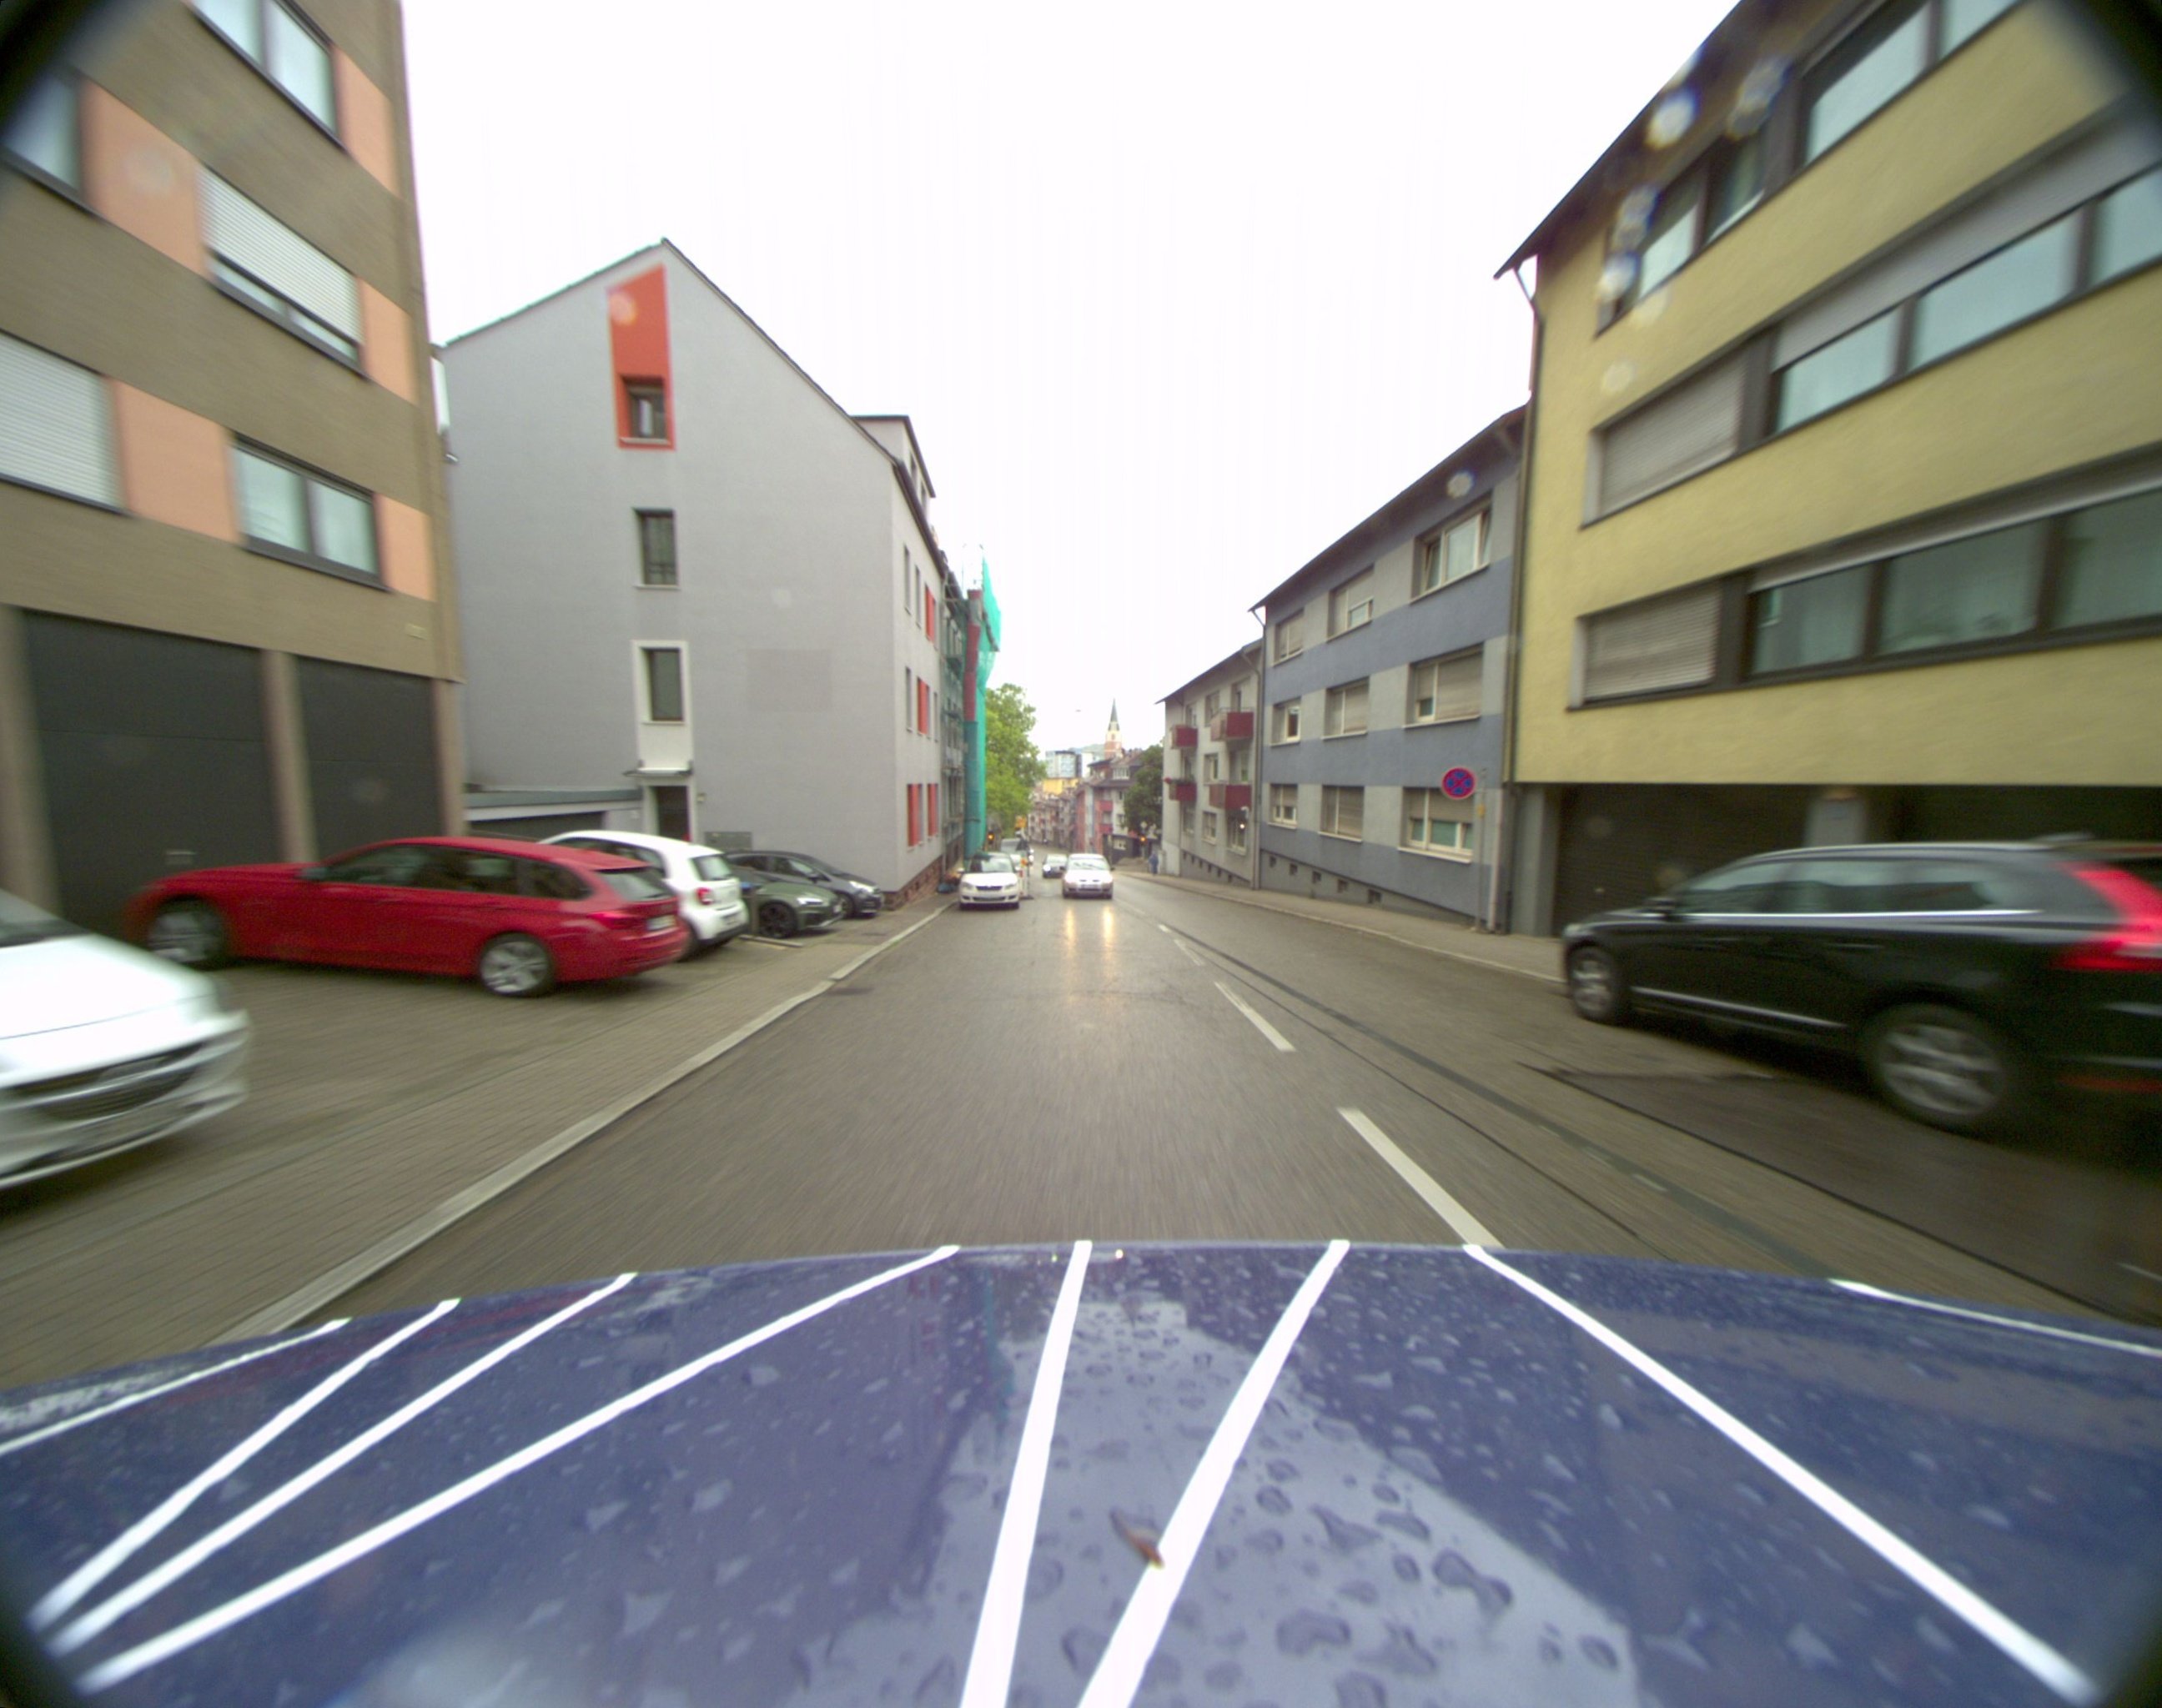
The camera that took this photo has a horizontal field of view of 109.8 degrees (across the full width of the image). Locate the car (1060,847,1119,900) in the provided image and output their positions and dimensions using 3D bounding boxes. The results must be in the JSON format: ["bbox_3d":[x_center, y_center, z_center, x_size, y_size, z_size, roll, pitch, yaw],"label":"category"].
[{"bbox_3d":[0.238,0.629,27.223,1.720,1.528,3.996,-2,3,-4],"label":"car"}]

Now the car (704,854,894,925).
[{"bbox_3d":[-6.419,0.785,17.631,3.813,1.541,1.659,0,1,-5],"label":"car"}]

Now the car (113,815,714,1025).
[{"bbox_3d":[-6.527,0.627,7.933,4.354,1.521,1.875,6,0,-5],"label":"car"}]

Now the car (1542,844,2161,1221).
[{"bbox_3d":[5.674,0.761,5.428,1.999,1.640,4.440,-1,1,-1],"label":"car"}]

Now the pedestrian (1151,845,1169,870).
[{"bbox_3d":[5.008,0.250,48.304,0.872,1.532,1.087,-2,-1,-6],"label":"pedestrian"}]

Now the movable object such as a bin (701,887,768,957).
[{"bbox_3d":[-5.635,1.091,12.398,0.724,1.015,0.771,-2,3,-4],"label":"movable object such as a bin"}]

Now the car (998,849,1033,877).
[{"bbox_3d":[-4.024,0.529,47.080,1.999,1.504,4.334,-2,2,-4],"label":"car"}]

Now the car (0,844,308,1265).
[{"bbox_3d":[-6.135,0.673,3.055,3.974,1.521,1.691,4,1,-7],"label":"car"}]

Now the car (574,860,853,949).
[{"bbox_3d":[-6.666,0.882,14.217,4.280,1.458,1.893,-1,1,-5],"label":"car"}]

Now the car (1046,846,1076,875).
[{"bbox_3d":[-1.317,0.369,48.176,1.720,1.528,3.997,-2,3,-3],"label":"car"}]

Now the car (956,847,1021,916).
[{"bbox_3d":[-2.617,0.727,22.224,1.645,1.752,3.998,-2,0,-5],"label":"car"}]

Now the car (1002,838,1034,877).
[{"bbox_3d":[-4.375,0.160,53.547,1.999,2.401,5.831,-2,3,-4],"label":"car"}]

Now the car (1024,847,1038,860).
[{"bbox_3d":[-6.349,-0.084,96.138,1.638,1.521,3.997,-2,1,-7],"label":"car"}]

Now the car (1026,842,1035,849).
[{"bbox_3d":[-11.053,-1.883,165.606,1.638,1.521,3.997,-2,1,-7],"label":"car"}]

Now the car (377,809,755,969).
[{"bbox_3d":[-6.822,0.454,10.441,3.838,1.692,1.727,5,0,-5],"label":"car"}]
